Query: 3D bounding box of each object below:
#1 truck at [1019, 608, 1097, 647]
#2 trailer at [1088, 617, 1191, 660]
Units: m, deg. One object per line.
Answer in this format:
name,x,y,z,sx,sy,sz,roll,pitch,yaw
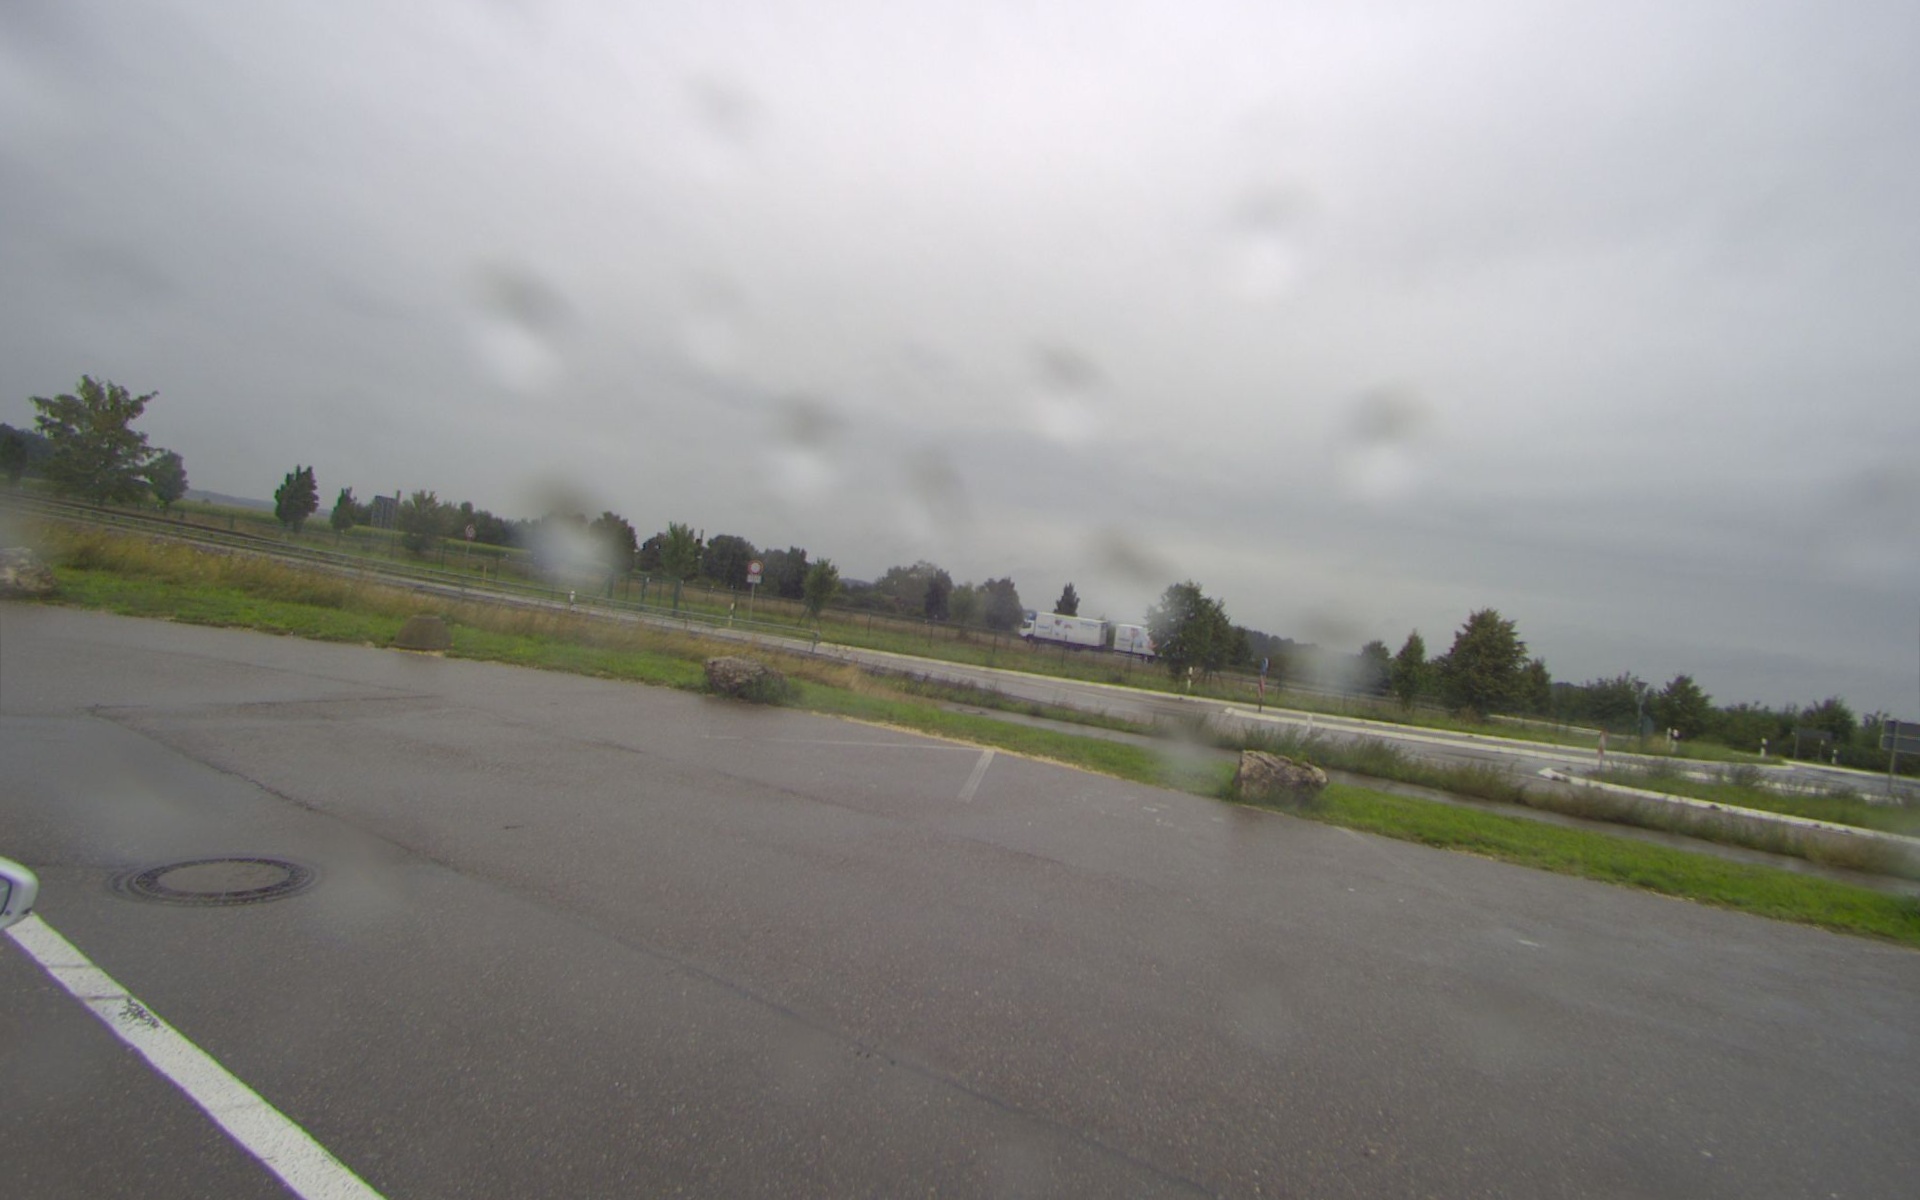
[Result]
truck,10.371,2.895,106.835,7.652,2.942,2.183,8,-1,26
trailer,18.329,3.951,103.061,9.961,2.936,2.207,8,-1,25
